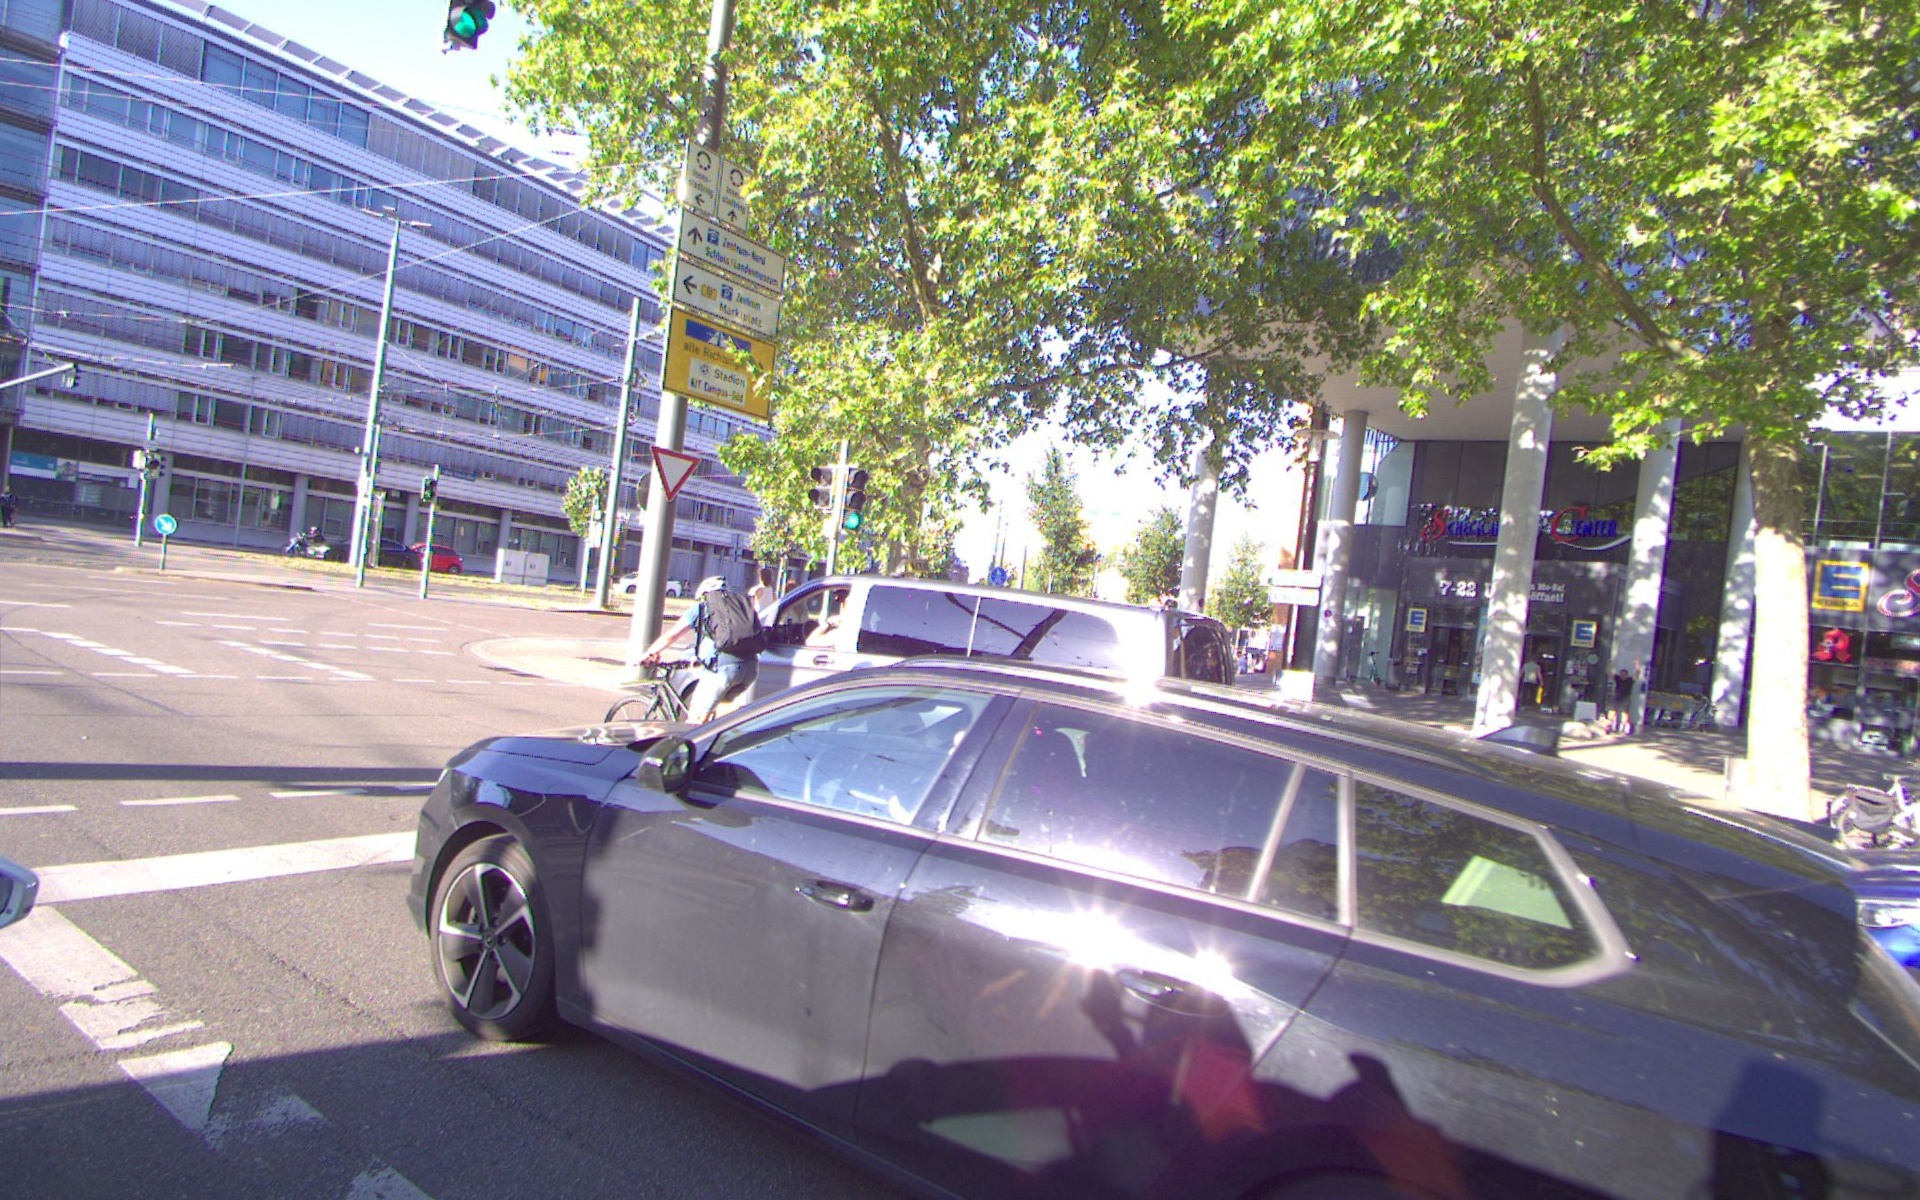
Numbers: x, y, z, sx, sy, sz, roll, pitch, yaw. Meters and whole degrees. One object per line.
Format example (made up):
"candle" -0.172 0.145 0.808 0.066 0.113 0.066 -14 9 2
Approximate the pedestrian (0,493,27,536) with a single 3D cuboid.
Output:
"pedestrian" -37.459 -3.381 39.544 0.883 1.583 0.947 7 1 38

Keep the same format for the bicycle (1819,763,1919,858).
"bicycle" 11.202 2.542 12.084 0.437 0.930 1.210 6 0 -39

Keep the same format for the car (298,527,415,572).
"car" -27.341 -2.270 45.690 1.758 1.415 4.157 7 0 37

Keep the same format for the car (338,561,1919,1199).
"car" 0.140 0.867 3.144 4.199 1.431 1.742 7 -2 32

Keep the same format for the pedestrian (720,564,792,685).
"pedestrian" -3.350 0.398 16.502 0.639 1.868 0.805 6 1 -40

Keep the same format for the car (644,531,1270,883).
"car" -0.180 0.688 8.759 5.012 2.004 1.939 7 0 31

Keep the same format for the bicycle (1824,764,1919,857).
"bicycle" 11.500 2.604 12.357 0.460 0.938 1.210 6 0 -39

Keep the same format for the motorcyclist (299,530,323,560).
"motorcyclist" -29.994 -2.544 46.520 0.452 1.291 0.712 7 1 36

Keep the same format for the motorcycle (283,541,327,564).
"motorcycle" -30.153 -2.186 46.327 0.460 0.820 1.568 7 0 36

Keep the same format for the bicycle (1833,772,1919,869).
"bicycle" 10.543 2.476 11.098 1.233 0.898 0.462 7 1 32

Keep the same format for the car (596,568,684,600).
"car" -18.475 -0.909 58.221 1.758 1.354 4.602 7 1 37

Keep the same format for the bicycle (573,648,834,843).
"bicycle" -1.823 0.952 7.012 1.839 0.993 0.561 7 1 32

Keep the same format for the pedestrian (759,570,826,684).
"pedestrian" -2.823 0.445 16.937 0.643 1.799 0.756 7 1 -37

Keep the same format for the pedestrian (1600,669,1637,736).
"pedestrian" 17.514 2.727 26.769 0.598 1.707 0.511 6 1 -41

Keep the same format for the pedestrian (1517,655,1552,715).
"pedestrian" 17.668 2.614 30.942 0.706 1.728 0.804 7 1 34

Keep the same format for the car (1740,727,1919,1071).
"car" 6.454 1.712 4.646 4.181 1.503 1.741 7 0 31

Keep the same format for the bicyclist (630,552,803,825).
"bicyclist" -1.677 0.583 6.953 0.766 1.714 0.632 7 1 32

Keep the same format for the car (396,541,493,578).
"car" -26.416 -2.069 51.665 1.758 1.411 3.984 7 1 37
